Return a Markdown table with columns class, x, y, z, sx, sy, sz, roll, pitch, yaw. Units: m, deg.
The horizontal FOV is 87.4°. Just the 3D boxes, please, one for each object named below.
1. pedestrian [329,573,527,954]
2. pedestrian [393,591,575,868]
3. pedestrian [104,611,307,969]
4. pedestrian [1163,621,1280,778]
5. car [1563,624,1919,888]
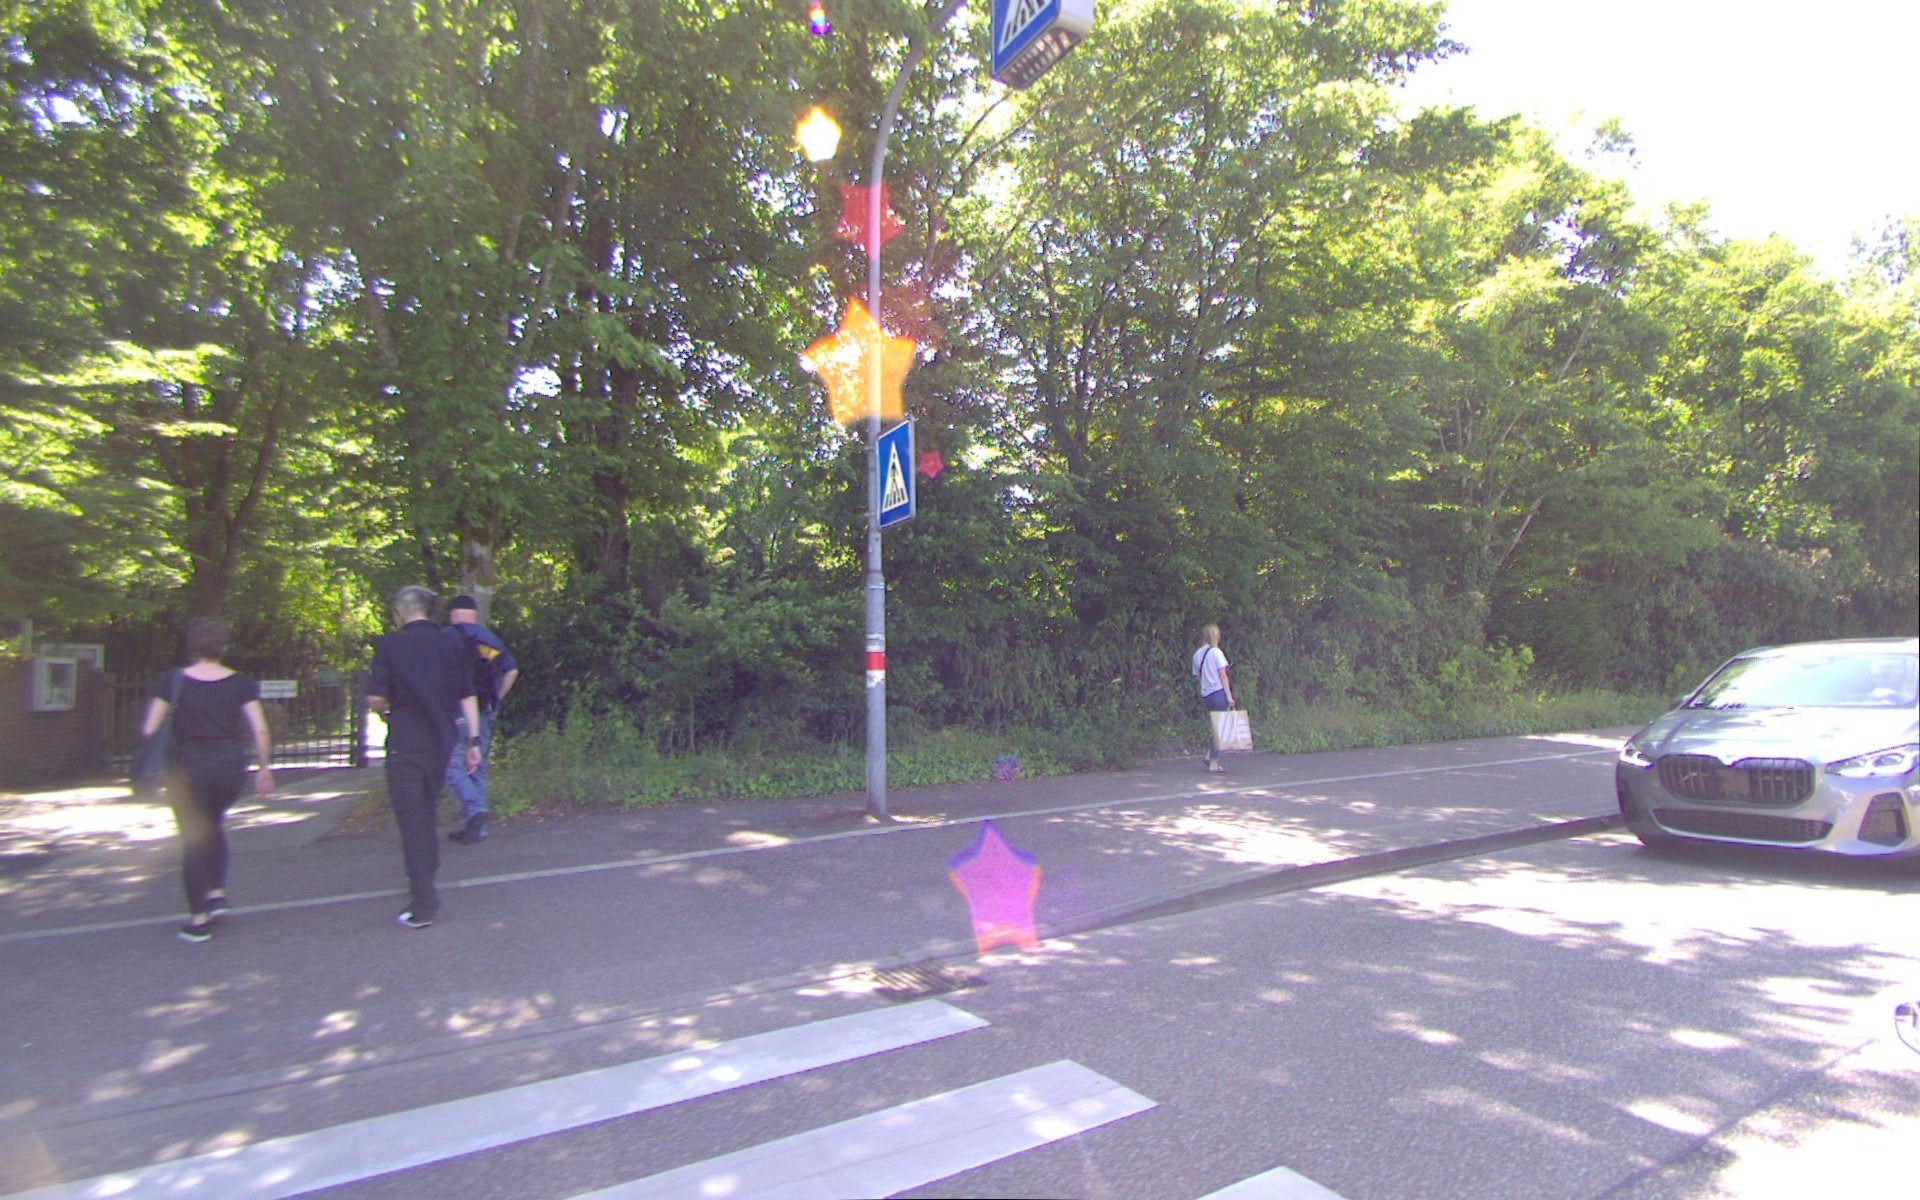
| class | x | y | z | sx | sy | sz | roll | pitch | yaw |
| --- | --- | --- | --- | --- | --- | --- | --- | --- | --- |
| pedestrian | -3.008 | 0.808 | 5.645 | 0.777 | 1.889 | 1.074 | 1 | 1 | -39 |
| pedestrian | -3.437 | 0.842 | 7.222 | 1.013 | 1.775 | 1.147 | 0 | -1 | -35 |
| pedestrian | -3.917 | 0.888 | 5.223 | 0.774 | 1.633 | 0.886 | 1 | 1 | -39 |
| pedestrian | 2.892 | 1.063 | 11.147 | 0.876 | 1.634 | 0.927 | 1 | -2 | -32 |
| car | 6.843 | 1.065 | 7.901 | 4.151 | 1.551 | 1.881 | 2 | -7 | -33 |
